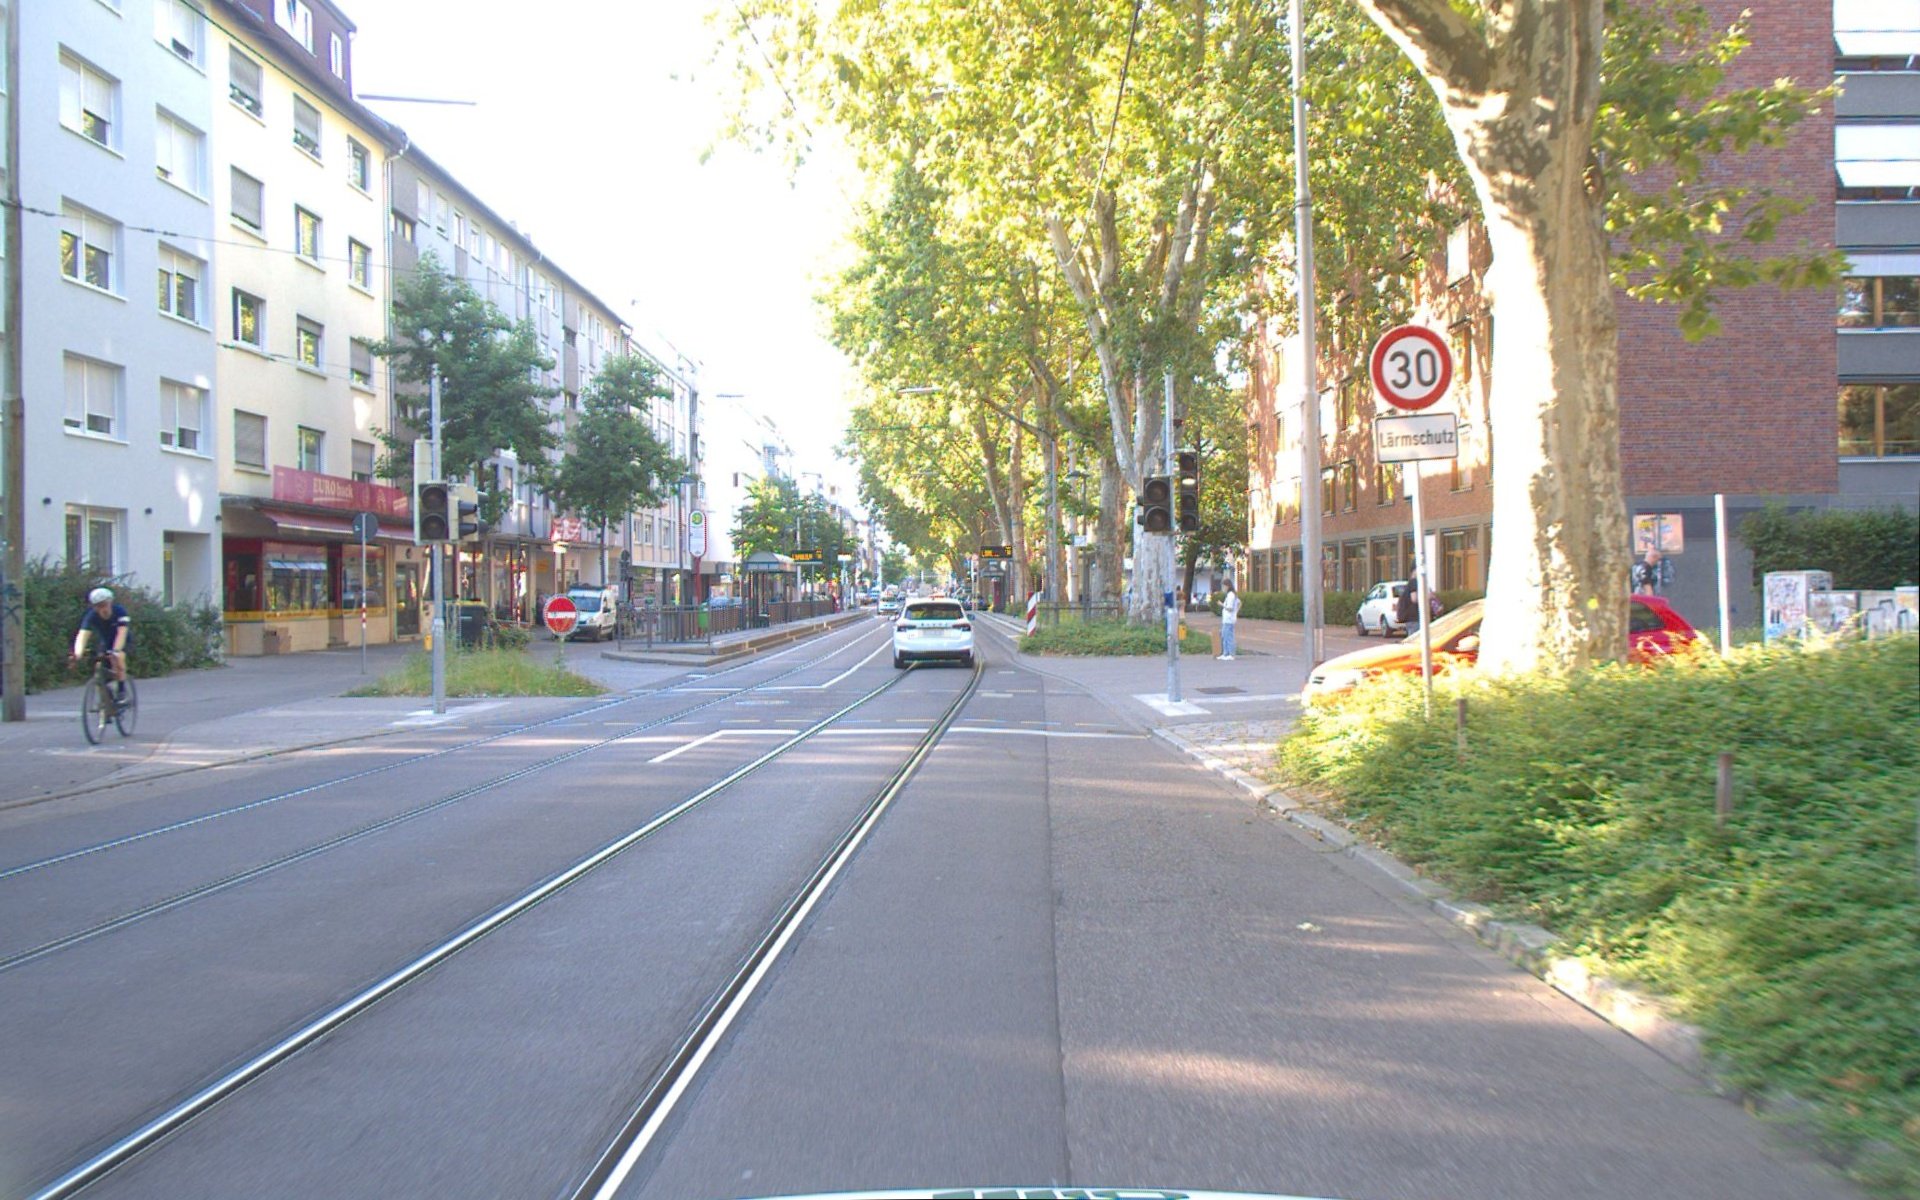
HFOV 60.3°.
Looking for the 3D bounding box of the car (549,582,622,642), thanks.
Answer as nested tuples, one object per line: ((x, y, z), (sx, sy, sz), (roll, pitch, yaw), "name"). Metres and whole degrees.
((-12.978, 0.399, 57.551), (1.654, 1.974, 3.999), (-1, 0, -1), "car")

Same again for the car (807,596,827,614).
((-13.494, 0.453, 156.234), (1.644, 1.575, 3.999), (1, 0, -1), "car")

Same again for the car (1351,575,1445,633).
((12.137, 0.101, 45.970), (1.568, 1.521, 3.415), (-1, 0, -2), "car")

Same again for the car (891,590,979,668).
((-0.541, 0.583, 35.558), (1.752, 1.540, 3.999), (-1, 0, -1), "car")

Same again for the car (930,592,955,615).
((-1.286, 0.234, 118.455), (1.752, 1.540, 3.999), (-1, 0, -1), "car")

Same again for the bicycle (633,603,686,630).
((-13.467, 0.730, 74.180), (2.207, 1.093, 0.636), (2, 0, 0), "bicycle")

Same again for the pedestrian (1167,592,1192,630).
((9.797, 0.472, 73.835), (0.952, 1.652, 0.887), (-1, 0, -1), "pedestrian")

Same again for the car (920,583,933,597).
((-4.788, -1.434, 234.759), (1.828, 1.925, 3.999), (-1, 0, -1), "car")

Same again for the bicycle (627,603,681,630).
((-13.389, 0.736, 72.340), (2.207, 1.093, 0.636), (2, 0, 0), "bicycle")

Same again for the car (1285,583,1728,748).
((5.258, 0.610, 16.266), (3.804, 1.448, 1.649), (-1, 0, 2), "car")

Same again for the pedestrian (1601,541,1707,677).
((10.249, 0.130, 24.456), (0.964, 1.896, 1.015), (-5, 1, -6), "pedestrian")

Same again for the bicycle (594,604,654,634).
((-13.211, 0.755, 65.069), (2.207, 1.093, 0.636), (2, 0, 0), "bicycle")

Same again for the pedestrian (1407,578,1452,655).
((10.542, 0.369, 37.181), (0.721, 1.698, 0.834), (-1, 0, -2), "pedestrian")

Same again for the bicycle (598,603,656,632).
((-13.479, 0.716, 66.968), (2.207, 1.093, 0.636), (2, 0, 0), "bicycle")

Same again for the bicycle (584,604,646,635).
((-13.231, 0.747, 63.421), (2.207, 1.093, 0.636), (2, 0, 0), "bicycle")

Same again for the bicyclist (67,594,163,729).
((-9.533, 0.677, 18.684), (0.628, 1.480, 0.837), (-2, 0, -2), "bicyclist")

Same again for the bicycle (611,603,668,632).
((-13.330, 0.728, 68.763), (2.207, 1.093, 0.636), (2, 0, 0), "bicycle")

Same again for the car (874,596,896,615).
((-5.997, 0.447, 132.996), (1.659, 1.444, 3.999), (-1, 0, -1), "car")

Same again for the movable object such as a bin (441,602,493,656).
((-13.165, 0.769, 44.203), (1.147, 1.372, 0.782), (2, 0, -5), "movable object such as a bin")

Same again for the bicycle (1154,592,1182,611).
((12.197, 0.084, 97.025), (1.533, 1.055, 0.504), (-1, 0, 20), "bicycle")

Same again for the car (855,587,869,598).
((-13.813, -1.020, 232.481), (1.752, 1.540, 3.999), (-1, 0, -1), "car")

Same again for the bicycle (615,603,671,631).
((-13.505, 0.727, 70.507), (2.207, 1.093, 0.636), (2, 0, 0), "bicycle")

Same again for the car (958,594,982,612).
((0.834, 0.248, 143.965), (1.953, 1.478, 3.999), (-1, 0, -1), "car")

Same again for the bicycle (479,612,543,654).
((-12.557, 0.928, 46.286), (1.503, 1.094, 0.885), (2, 0, -2), "bicycle")

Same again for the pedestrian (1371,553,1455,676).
((7.039, 0.217, 25.724), (0.975, 1.842, 0.863), (-2, 0, -6), "pedestrian")

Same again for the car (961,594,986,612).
((1.091, 0.255, 138.884), (1.953, 1.478, 3.999), (-1, 0, -1), "car")

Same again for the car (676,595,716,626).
((-14.025, 0.559, 88.043), (1.561, 1.575, 3.999), (1, 0, -1), "car")

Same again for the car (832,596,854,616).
((-9.639, 0.499, 136.507), (1.644, 1.575, 3.999), (1, 0, -1), "car")

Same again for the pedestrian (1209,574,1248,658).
((5.578, 0.327, 34.355), (0.639, 1.698, 0.738), (-1, 0, -2), "pedestrian")

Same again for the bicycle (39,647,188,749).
((-9.513, 1.075, 18.681), (0.628, 1.004, 2.100), (-2, 0, -2), "bicycle")
